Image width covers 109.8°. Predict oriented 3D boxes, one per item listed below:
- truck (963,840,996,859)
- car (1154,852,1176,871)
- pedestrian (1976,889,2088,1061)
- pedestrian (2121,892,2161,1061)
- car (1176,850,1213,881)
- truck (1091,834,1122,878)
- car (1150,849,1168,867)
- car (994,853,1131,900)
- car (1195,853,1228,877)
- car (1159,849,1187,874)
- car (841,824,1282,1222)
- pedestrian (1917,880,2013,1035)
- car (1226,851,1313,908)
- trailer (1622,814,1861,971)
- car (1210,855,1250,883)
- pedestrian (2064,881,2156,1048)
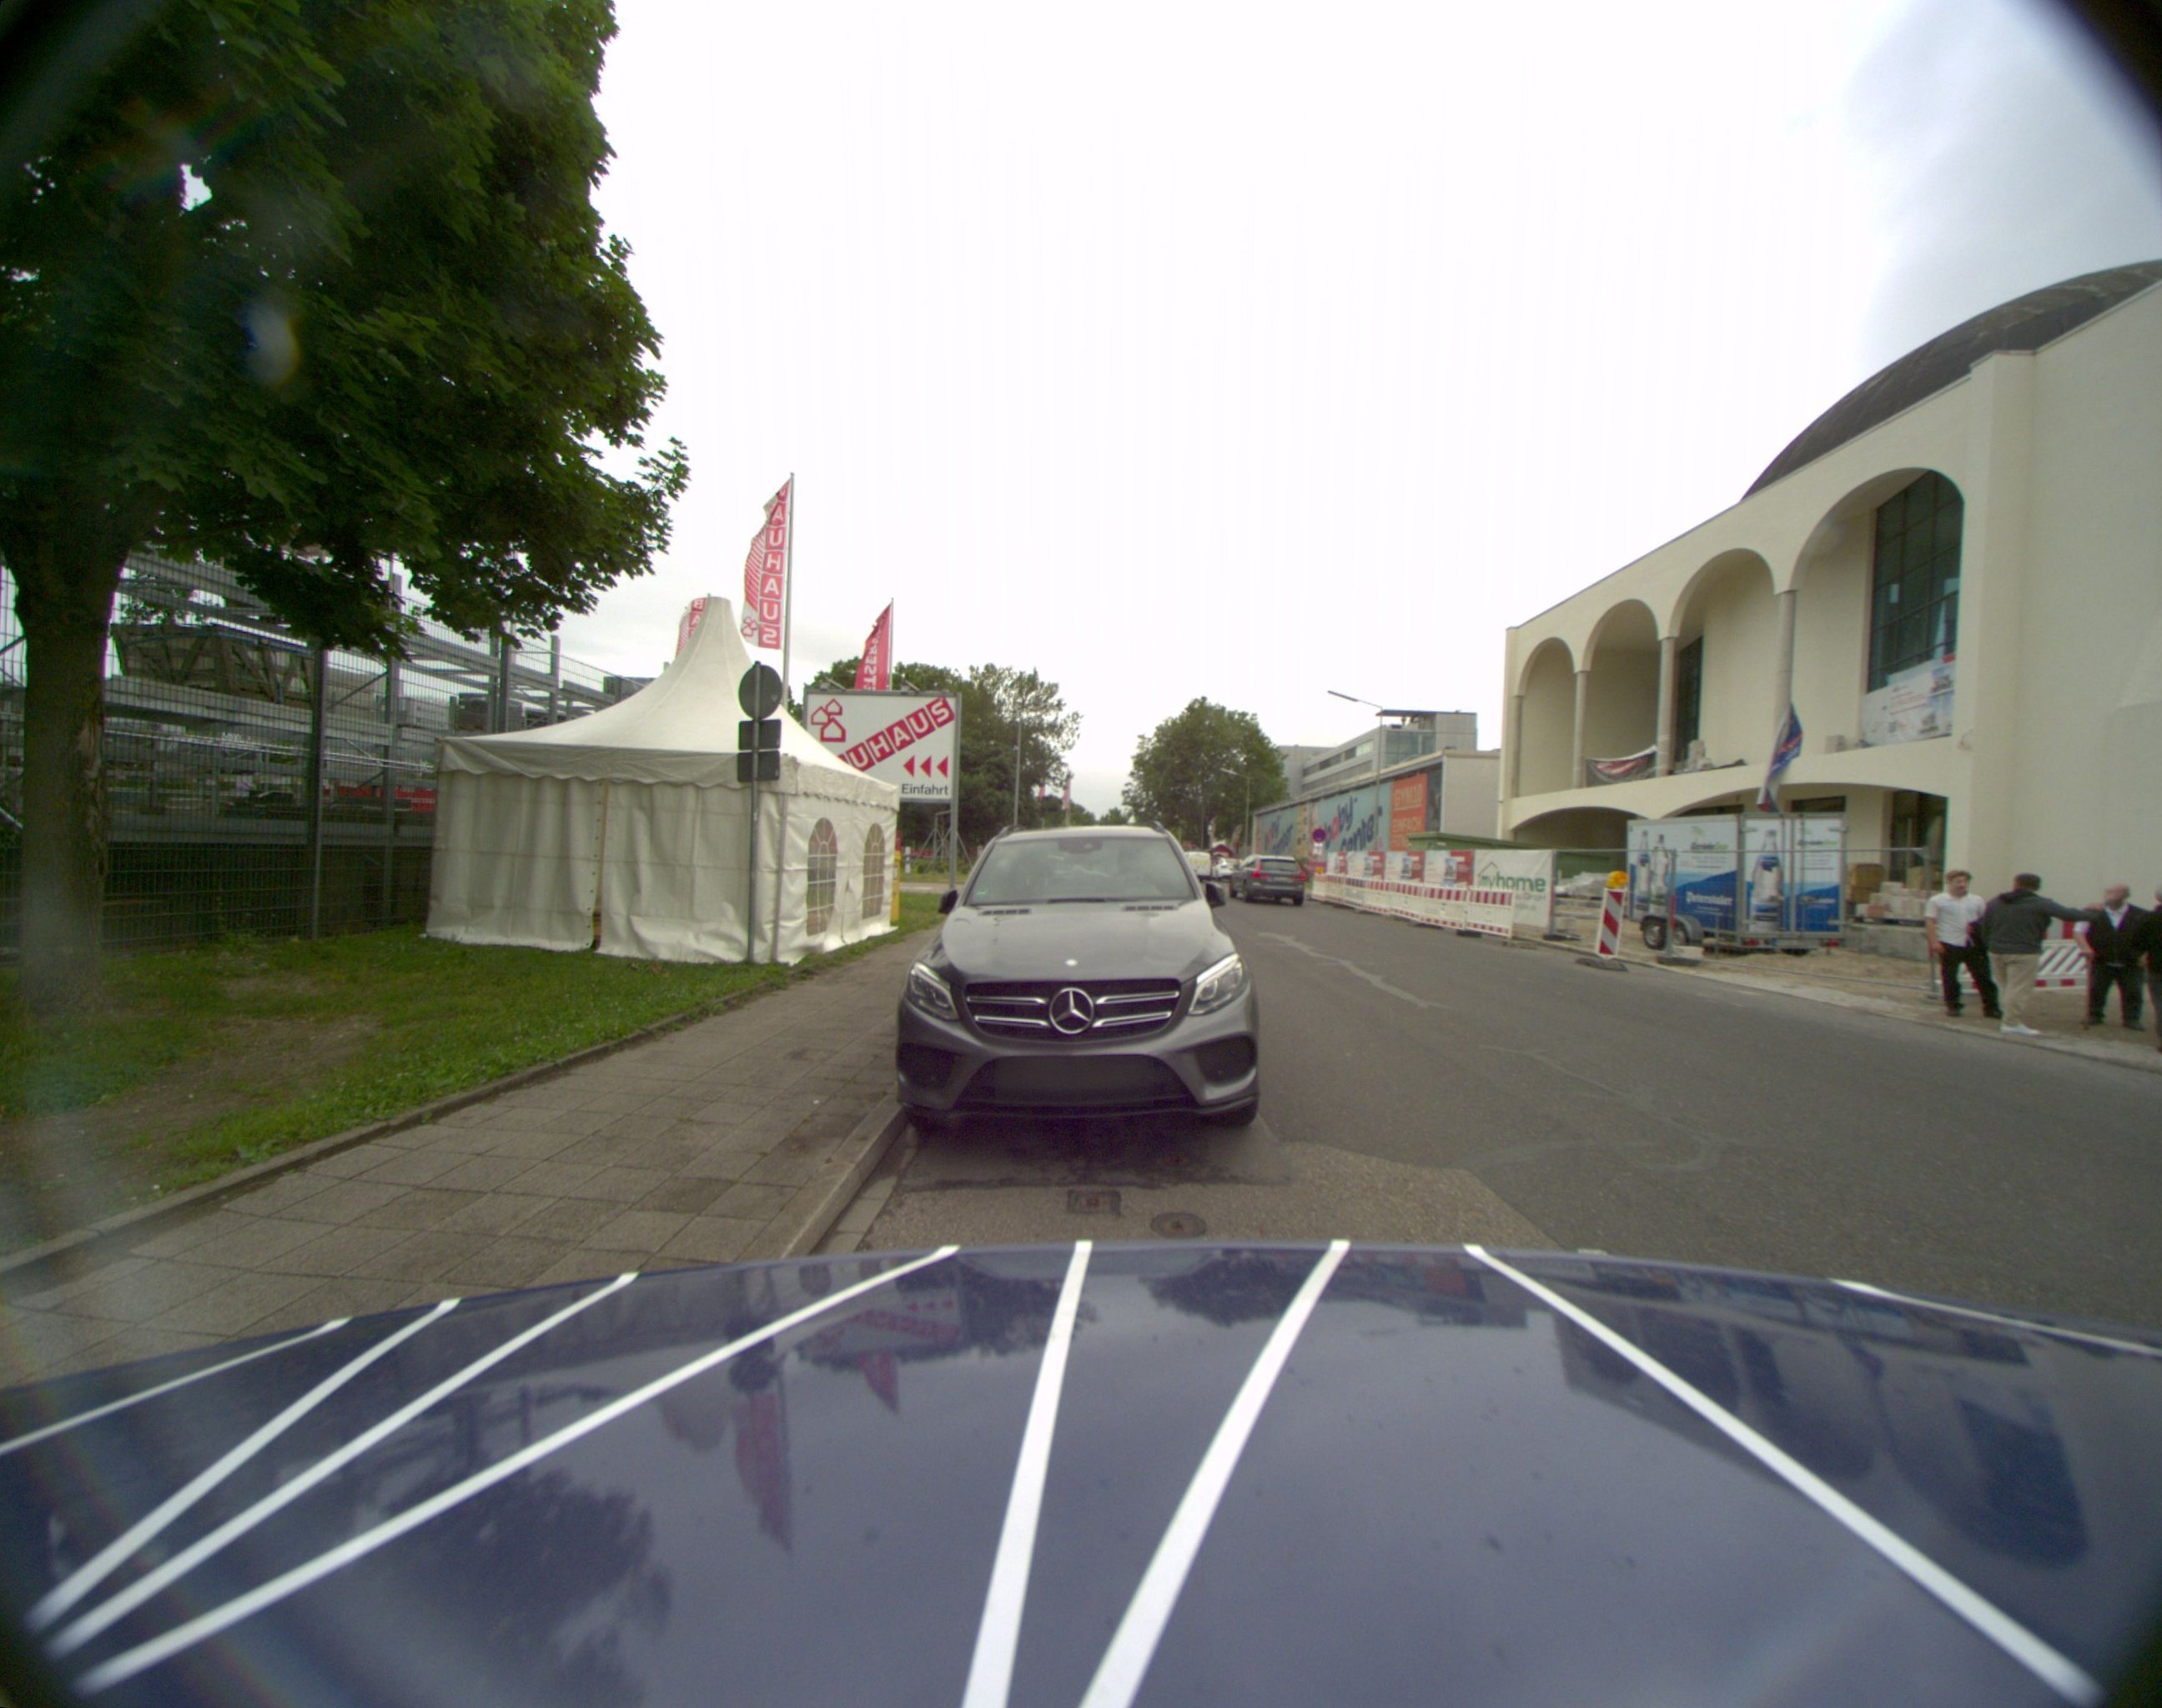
[{"bbox_3d":[-13.451,-0.598,100.835,1.994,2.383,4.009,3,1,42],"label":"truck"},{"bbox_3d":[7.979,0.686,72.226,1.733,1.562,3.947,4,1,2],"label":"car"},{"bbox_3d":[10.201,1.255,8.172,0.492,1.738,0.690,1,-2,-39],"label":"pedestrian"},{"bbox_3d":[10.608,1.175,7.323,0.570,1.601,0.492,-2,-2,44],"label":"pedestrian"},{"bbox_3d":[6.951,0.679,46.905,1.694,1.750,4.134,2,1,1],"label":"car"},{"bbox_3d":[1.624,0.101,48.031,1.852,2.597,4.000,-1,1,2],"label":"truck"},{"bbox_3d":[9.757,0.460,95.473,1.931,2.002,4.955,2,1,3],"label":"car"},{"bbox_3d":[-0.589,0.736,26.387,4.488,1.420,1.940,1,2,8],"label":"car"},{"bbox_3d":[10.039,0.814,58.831,1.928,1.565,4.150,5,1,3],"label":"car"},{"bbox_3d":[7.533,0.557,62.334,1.799,1.797,4.383,3,1,1],"label":"car"},{"bbox_3d":[0.014,0.738,5.574,1.913,1.731,4.480,-1,0,3],"label":"car"},{"bbox_3d":[10.487,1.187,9.022,0.492,1.738,0.690,1,-2,-39],"label":"pedestrian"},{"bbox_3d":[6.423,0.803,26.415,1.938,1.674,4.495,3,1,1],"label":"car"},{"bbox_3d":[12.317,0.644,14.477,1.802,2.592,3.192,3,1,5],"label":"trailer"},{"bbox_3d":[9.832,0.957,50.386,1.928,1.565,4.150,5,1,3],"label":"car"},{"bbox_3d":[11.232,1.169,8.308,0.492,1.738,0.527,1,-2,-40],"label":"pedestrian"}]
